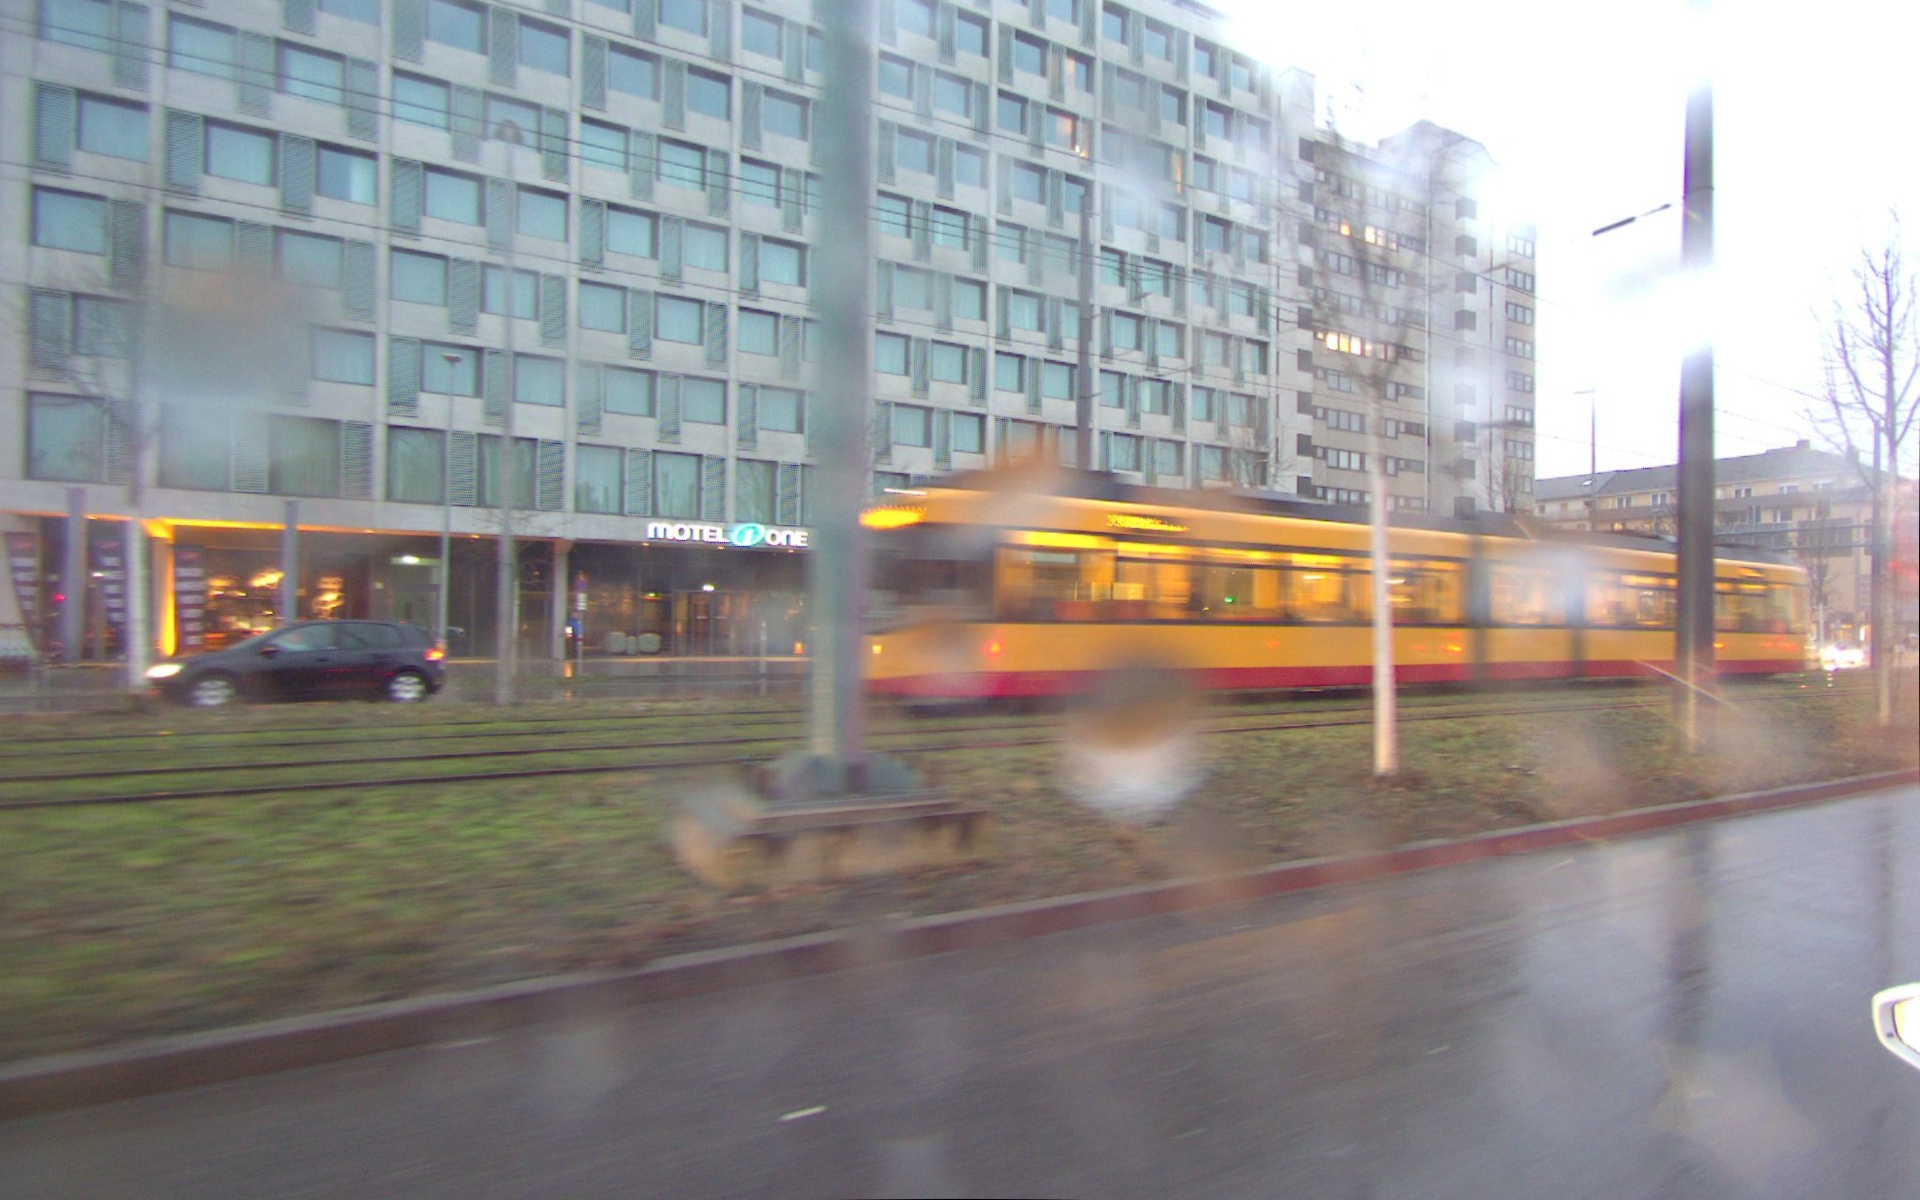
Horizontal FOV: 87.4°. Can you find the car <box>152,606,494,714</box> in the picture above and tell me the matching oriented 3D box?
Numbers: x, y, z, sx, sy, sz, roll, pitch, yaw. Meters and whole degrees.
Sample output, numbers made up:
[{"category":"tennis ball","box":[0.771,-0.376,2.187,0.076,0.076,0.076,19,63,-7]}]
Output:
[{"category":"car","box":[-10.311,0.904,16.499,1.973,1.516,4.422,0,-1,45]}]

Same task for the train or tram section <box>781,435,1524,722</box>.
[{"category":"train or tram section","box":[4.175,-0.088,17.244,14.151,3.533,2.943,1,-1,-31]}]

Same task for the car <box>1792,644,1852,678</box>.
[{"category":"car","box":[50.959,3.588,59.368,3.883,1.910,1.713,1,-1,-33]}]

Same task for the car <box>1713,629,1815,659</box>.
[{"category":"car","box":[54.550,2.943,68.257,5.059,1.937,2.001,0,-1,16]}]

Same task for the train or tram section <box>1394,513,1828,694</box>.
[{"category":"train or tram section","box":[16.370,0.236,24.494,14.099,3.533,2.943,1,-1,-31]}]
